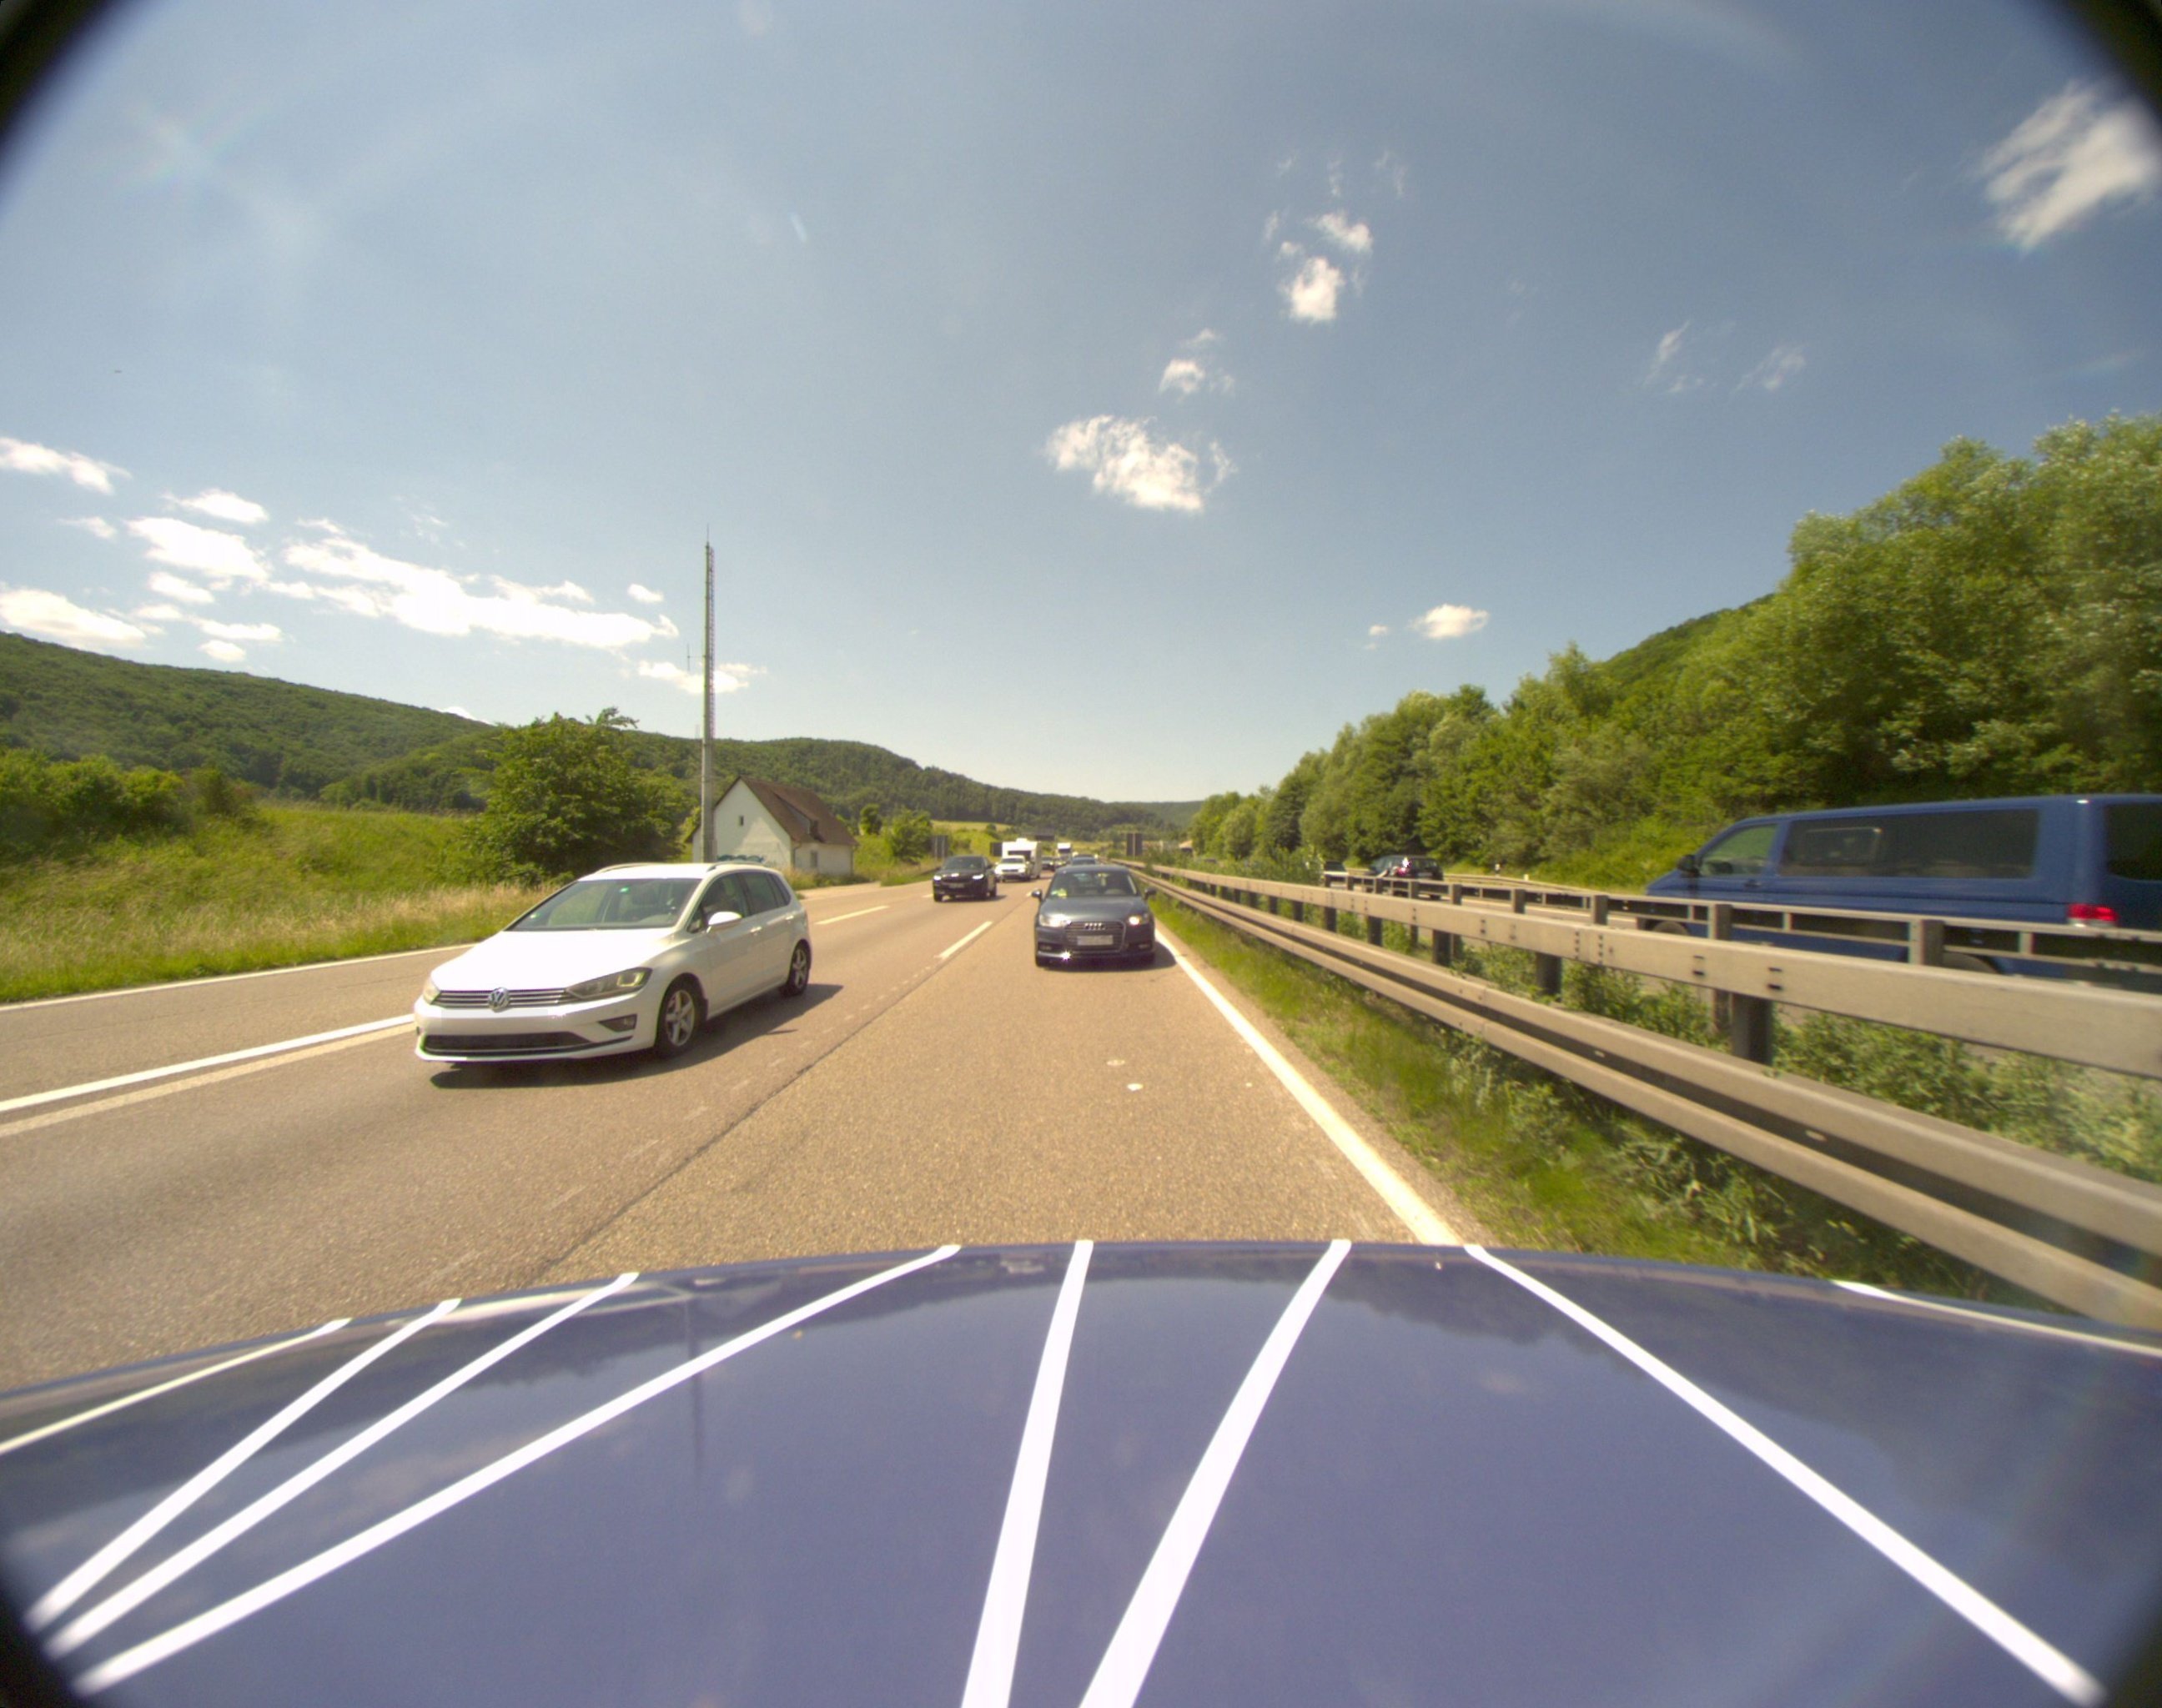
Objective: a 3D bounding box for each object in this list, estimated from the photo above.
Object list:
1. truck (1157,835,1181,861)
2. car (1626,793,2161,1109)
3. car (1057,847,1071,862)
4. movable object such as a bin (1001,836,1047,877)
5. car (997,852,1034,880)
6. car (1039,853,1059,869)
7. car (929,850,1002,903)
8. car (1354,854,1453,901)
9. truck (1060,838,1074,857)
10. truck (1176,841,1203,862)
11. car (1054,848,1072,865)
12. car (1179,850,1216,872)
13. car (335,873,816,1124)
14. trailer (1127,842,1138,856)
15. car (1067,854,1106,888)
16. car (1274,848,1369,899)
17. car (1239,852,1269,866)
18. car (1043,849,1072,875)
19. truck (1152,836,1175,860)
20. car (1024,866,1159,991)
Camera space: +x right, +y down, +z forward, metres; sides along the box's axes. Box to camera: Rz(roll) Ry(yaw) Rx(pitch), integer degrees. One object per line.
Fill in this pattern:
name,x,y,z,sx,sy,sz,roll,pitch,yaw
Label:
truck,14.197,-0.972,123.295,2.876,3.957,9.031,1,1,0
car,7.989,0.612,7.351,1.998,2.058,4.838,-1,0,1
car,-2.455,0.060,110.398,1.998,2.002,3.999,-1,1,0
movable object such as a bin,-3.854,0.132,52.902,2.481,2.616,6.709,-1,0,1
car,-3.927,0.713,46.110,1.821,1.574,4.000,-1,0,1
car,-3.089,0.654,73.552,1.711,1.542,4.000,0,0,1
car,-4.128,0.761,27.811,1.893,1.761,4.172,0,0,2
car,12.375,0.828,29.508,1.927,1.612,4.561,-1,1,1
truck,-2.666,-1.241,147.852,2.336,3.623,7.006,-1,0,1
truck,13.621,-0.291,96.076,2.301,2.573,7.967,-1,0,1
car,-2.160,0.230,91.542,1.998,2.002,3.999,-1,1,0
car,8.145,0.451,53.609,1.998,1.510,4.677,0,1,1
car,-4.077,1.016,7.104,1.777,1.532,4.054,-1,0,-1
trailer,16.267,-1.538,242.800,2.789,3.976,14.161,0,-1,1
car,0.315,0.821,38.048,1.835,1.587,4.000,-1,1,2
car,8.343,0.626,26.782,1.998,1.605,4.273,2,1,1
car,17.140,0.461,75.566,1.999,1.348,4.106,-1,1,-1
car,-1.778,0.582,59.761,1.998,2.002,4.000,-1,1,2
truck,14.313,-0.962,132.912,2.876,3.983,10.170,-1,0,0
car,0.258,0.925,11.073,1.591,1.401,4.001,-1,0,4
